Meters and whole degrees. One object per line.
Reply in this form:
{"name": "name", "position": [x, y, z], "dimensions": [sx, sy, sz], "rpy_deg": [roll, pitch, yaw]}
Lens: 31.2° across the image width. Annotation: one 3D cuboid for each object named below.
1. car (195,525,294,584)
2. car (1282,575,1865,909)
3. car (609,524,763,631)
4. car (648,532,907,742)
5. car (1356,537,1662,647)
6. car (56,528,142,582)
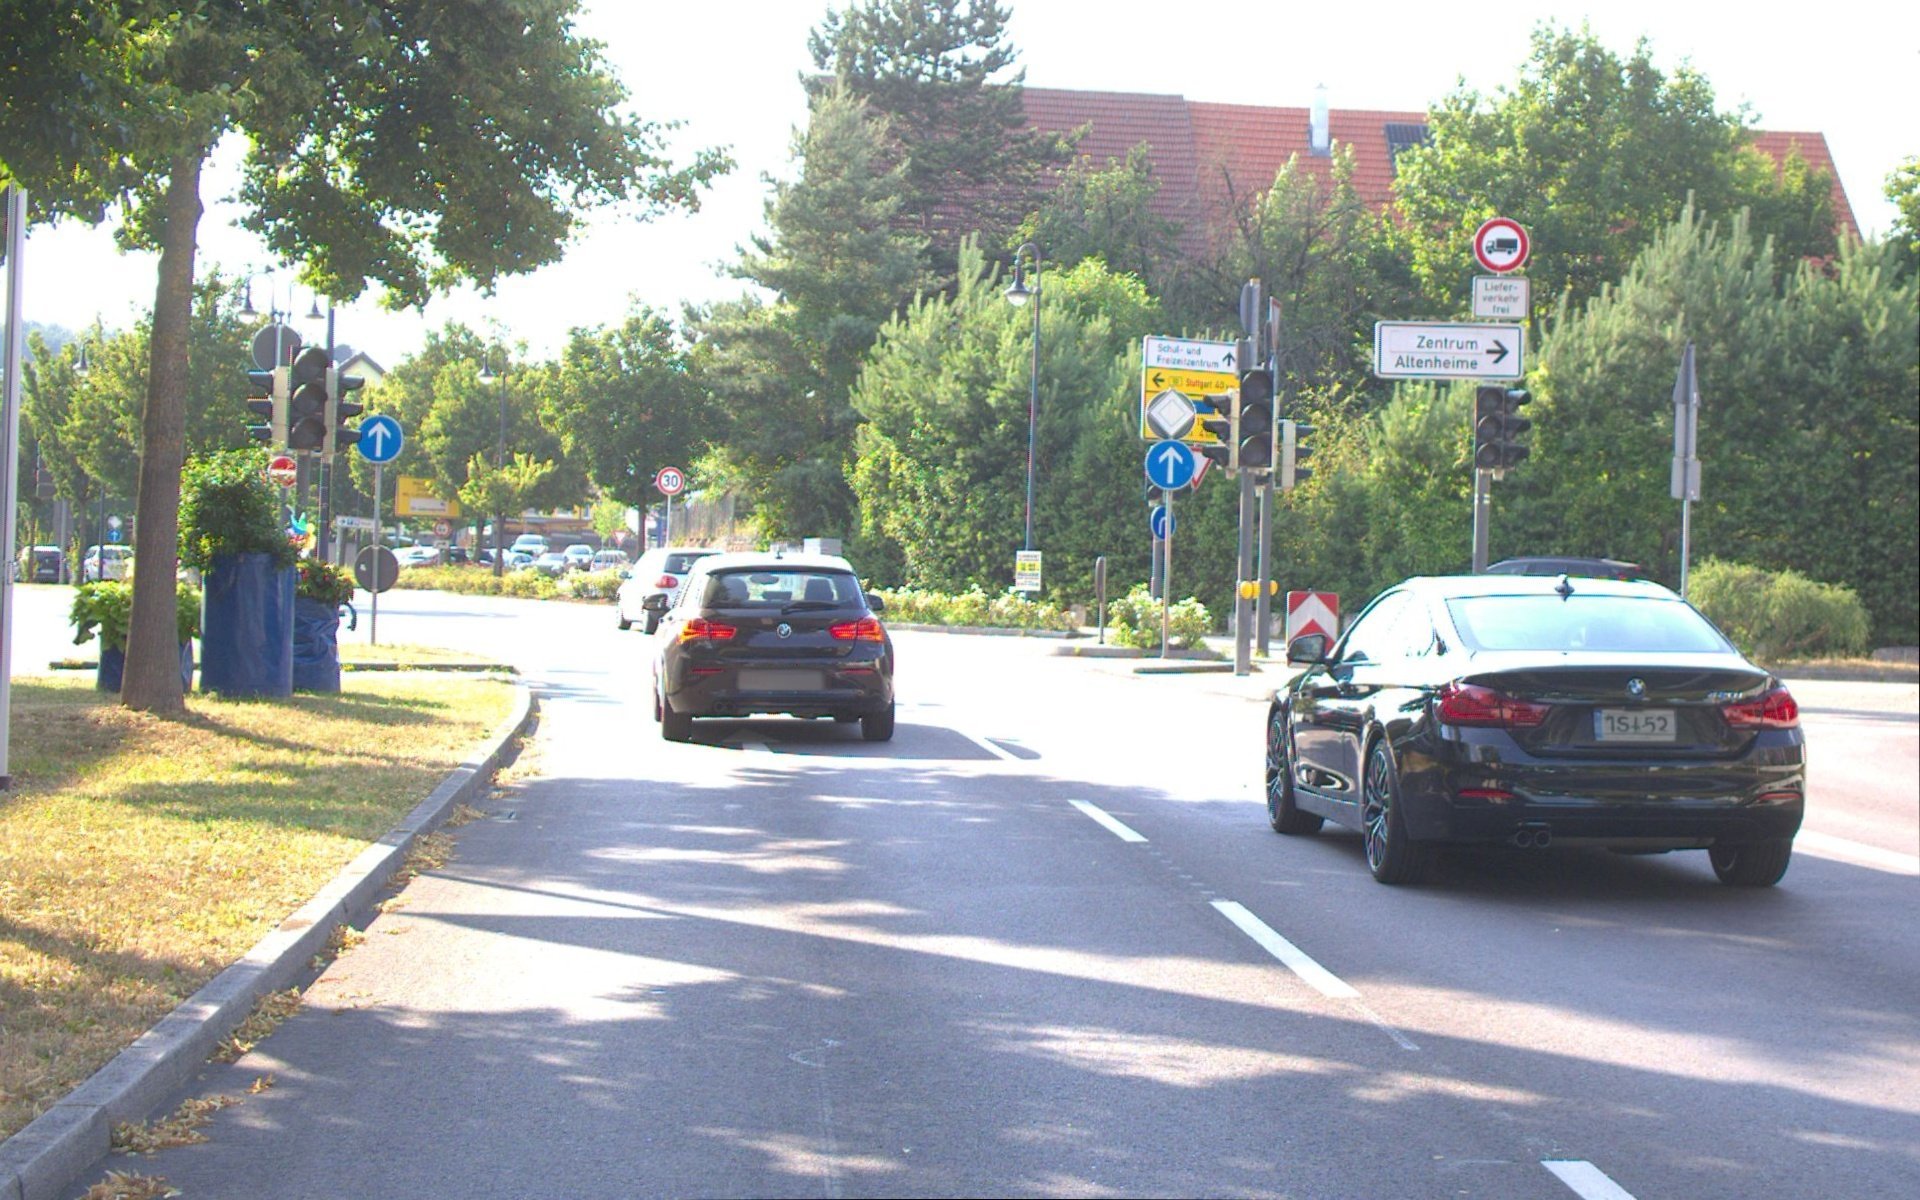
{"name": "car", "position": [-22.209, -1.431, 106.571], "dimensions": [2.216, 1.763, 4.455], "rpy_deg": [1, 1, -22]}
{"name": "car", "position": [2.744, 0.574, 16.405], "dimensions": [1.920, 1.359, 4.353], "rpy_deg": [1, 0, -1]}
{"name": "car", "position": [-4.762, -0.405, 59.304], "dimensions": [1.924, 1.763, 4.456], "rpy_deg": [1, 1, -14]}
{"name": "car", "position": [-1.363, 0.247, 27.238], "dimensions": [1.721, 1.485, 4.353], "rpy_deg": [1, 1, 1]}
{"name": "car", "position": [8.427, -0.141, 52.855], "dimensions": [4.264, 1.561, 1.789], "rpy_deg": [2, 1, 30]}
{"name": "car", "position": [-29.098, -1.528, 116.119], "dimensions": [2.216, 1.763, 4.455], "rpy_deg": [1, 1, -22]}
